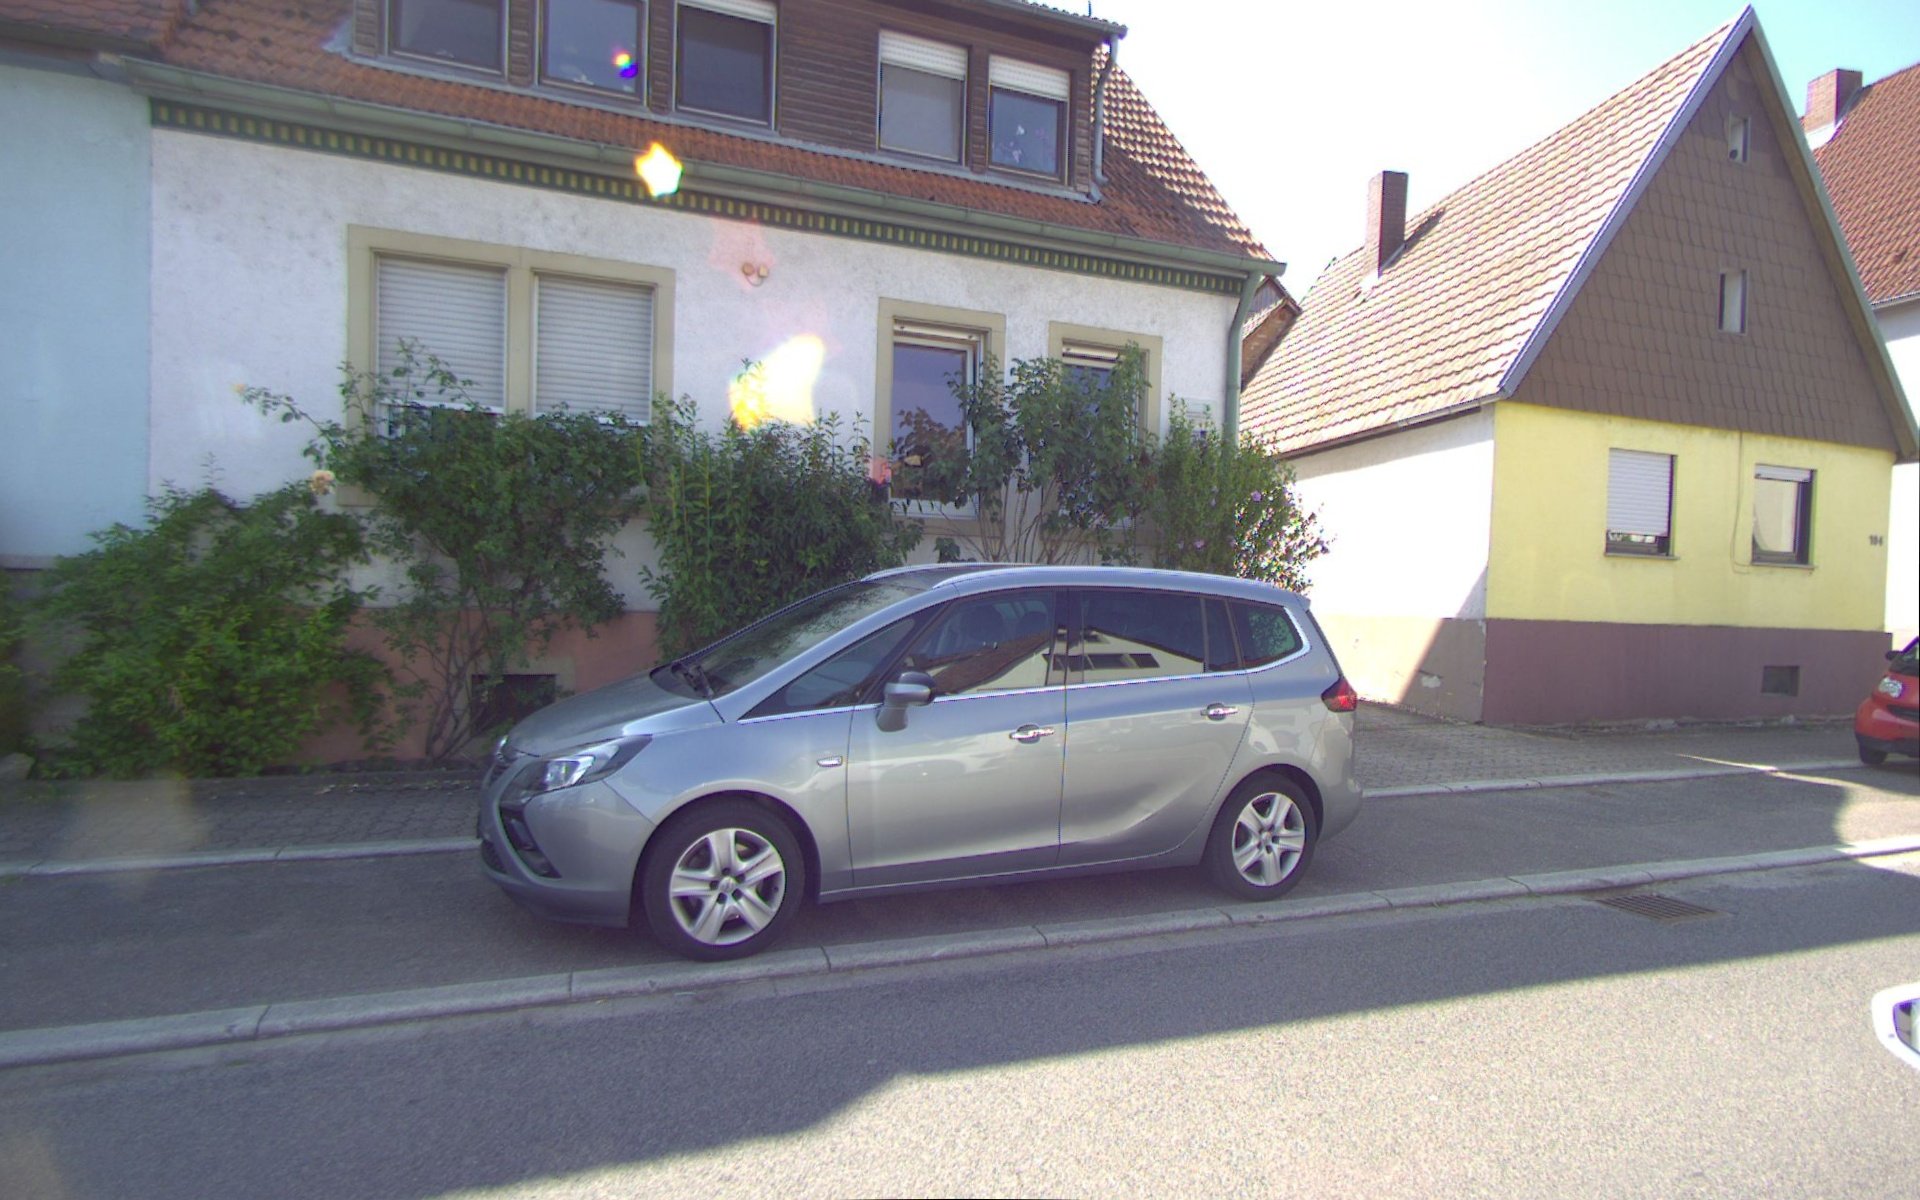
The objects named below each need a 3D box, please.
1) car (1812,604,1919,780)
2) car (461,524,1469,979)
[{"bbox_3d":[10.075,0.891,9.697,2.943,1.565,1.550,2,1,-21],"label":"car"},{"bbox_3d":[0.098,0.591,5.272,4.591,1.658,1.871,2,1,-19],"label":"car"}]
